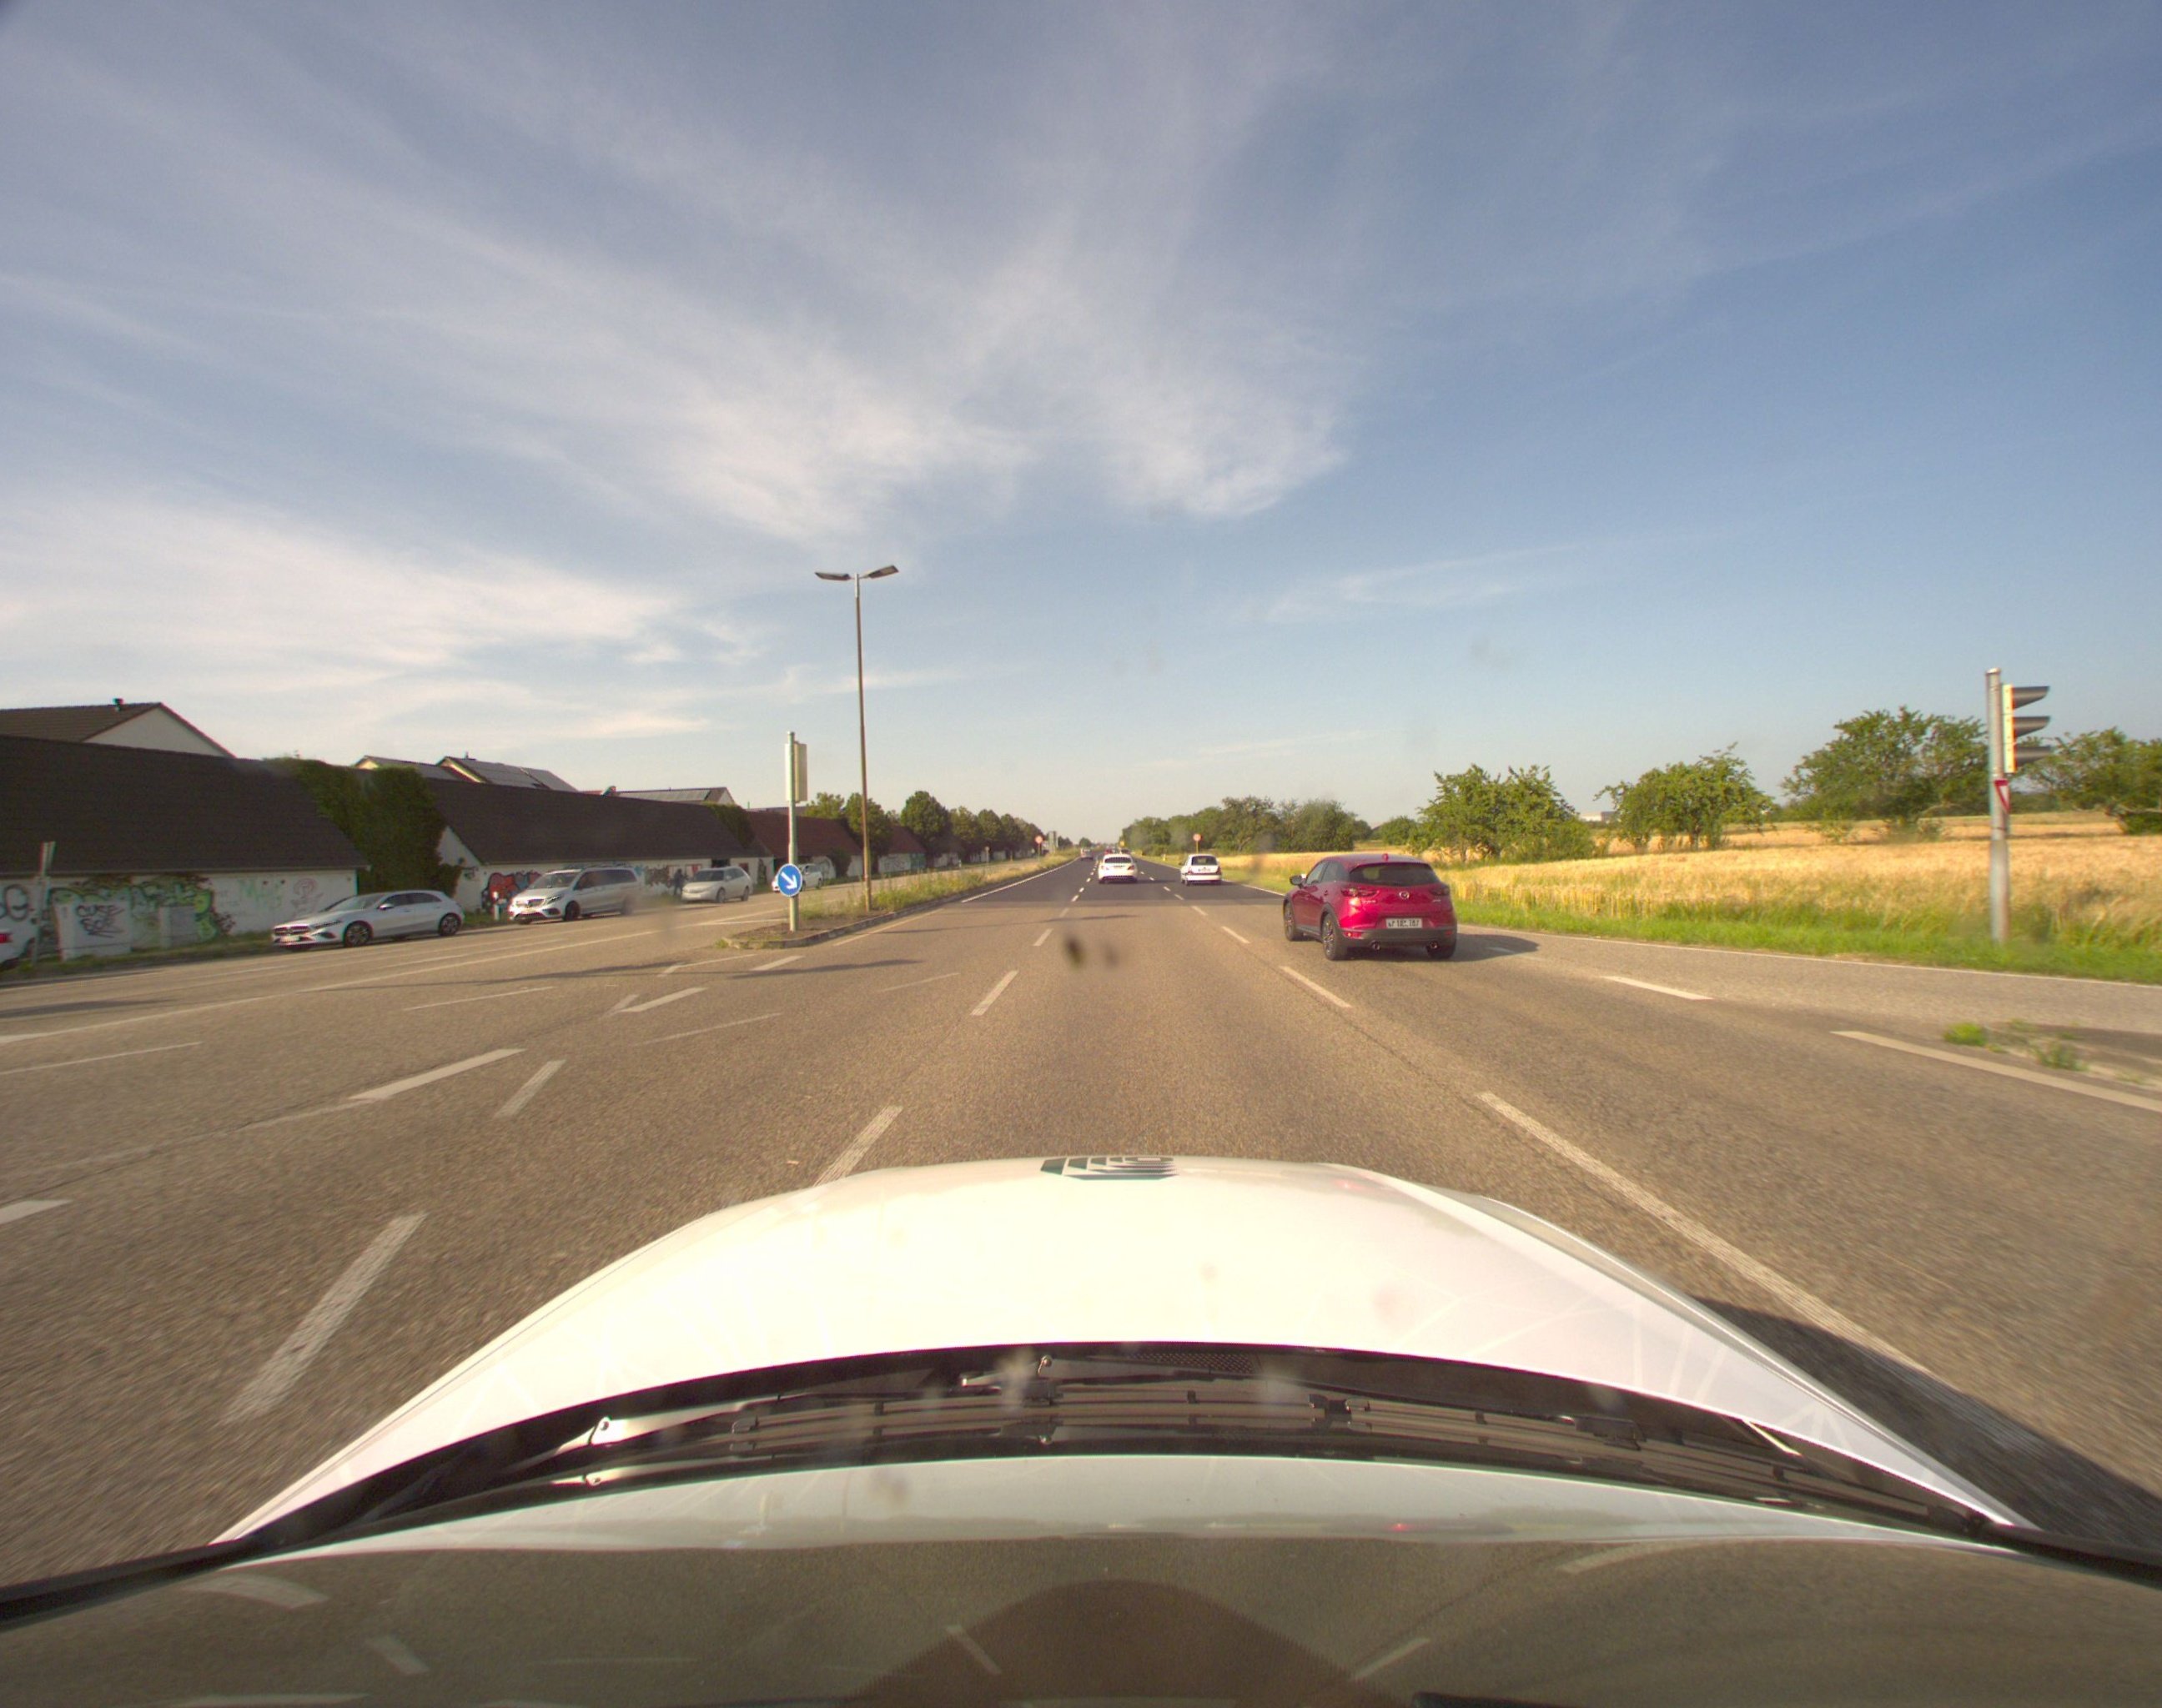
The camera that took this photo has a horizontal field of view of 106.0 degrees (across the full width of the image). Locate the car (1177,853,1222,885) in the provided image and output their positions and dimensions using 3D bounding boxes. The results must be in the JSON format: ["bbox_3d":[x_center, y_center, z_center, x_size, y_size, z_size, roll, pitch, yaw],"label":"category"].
[{"bbox_3d":[5.393,0.661,37.415,1.611,1.387,3.952,-1,0,1],"label":"car"}]

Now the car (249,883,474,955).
[{"bbox_3d":[-19.520,1.699,22.434,1.693,1.497,4.548,-5,-1,8],"label":"car"}]

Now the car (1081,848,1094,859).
[{"bbox_3d":[0.969,-0.054,120.488,1.751,1.618,4.004,-1,0,4],"label":"car"}]

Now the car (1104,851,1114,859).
[{"bbox_3d":[5.291,0.133,154.719,1.805,1.436,3.859,-1,0,1],"label":"car"}]

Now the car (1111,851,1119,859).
[{"bbox_3d":[8.466,0.314,202.270,1.795,1.904,3.562,-1,0,3],"label":"car"}]

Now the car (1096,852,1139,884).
[{"bbox_3d":[1.783,0.667,40.302,1.986,1.516,4.002,-1,0,2],"label":"car"}]

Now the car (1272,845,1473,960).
[{"bbox_3d":[4.391,0.662,13.048,1.698,1.506,4.502,-1,0,1],"label":"car"}]

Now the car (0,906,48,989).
[{"bbox_3d":[-21.695,1.781,13.801,1.933,1.497,4.784,-1,0,19],"label":"car"}]

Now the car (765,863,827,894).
[{"bbox_3d":[-17.564,1.470,50.466,1.829,1.707,4.760,-4,-1,2],"label":"car"}]

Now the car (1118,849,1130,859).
[{"bbox_3d":[7.084,0.017,133.855,1.821,1.728,4.001,-1,0,2],"label":"car"}]

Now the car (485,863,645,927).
[{"bbox_3d":[-18.476,1.385,29.552,1.899,1.928,5.460,-5,-1,4],"label":"car"}]
